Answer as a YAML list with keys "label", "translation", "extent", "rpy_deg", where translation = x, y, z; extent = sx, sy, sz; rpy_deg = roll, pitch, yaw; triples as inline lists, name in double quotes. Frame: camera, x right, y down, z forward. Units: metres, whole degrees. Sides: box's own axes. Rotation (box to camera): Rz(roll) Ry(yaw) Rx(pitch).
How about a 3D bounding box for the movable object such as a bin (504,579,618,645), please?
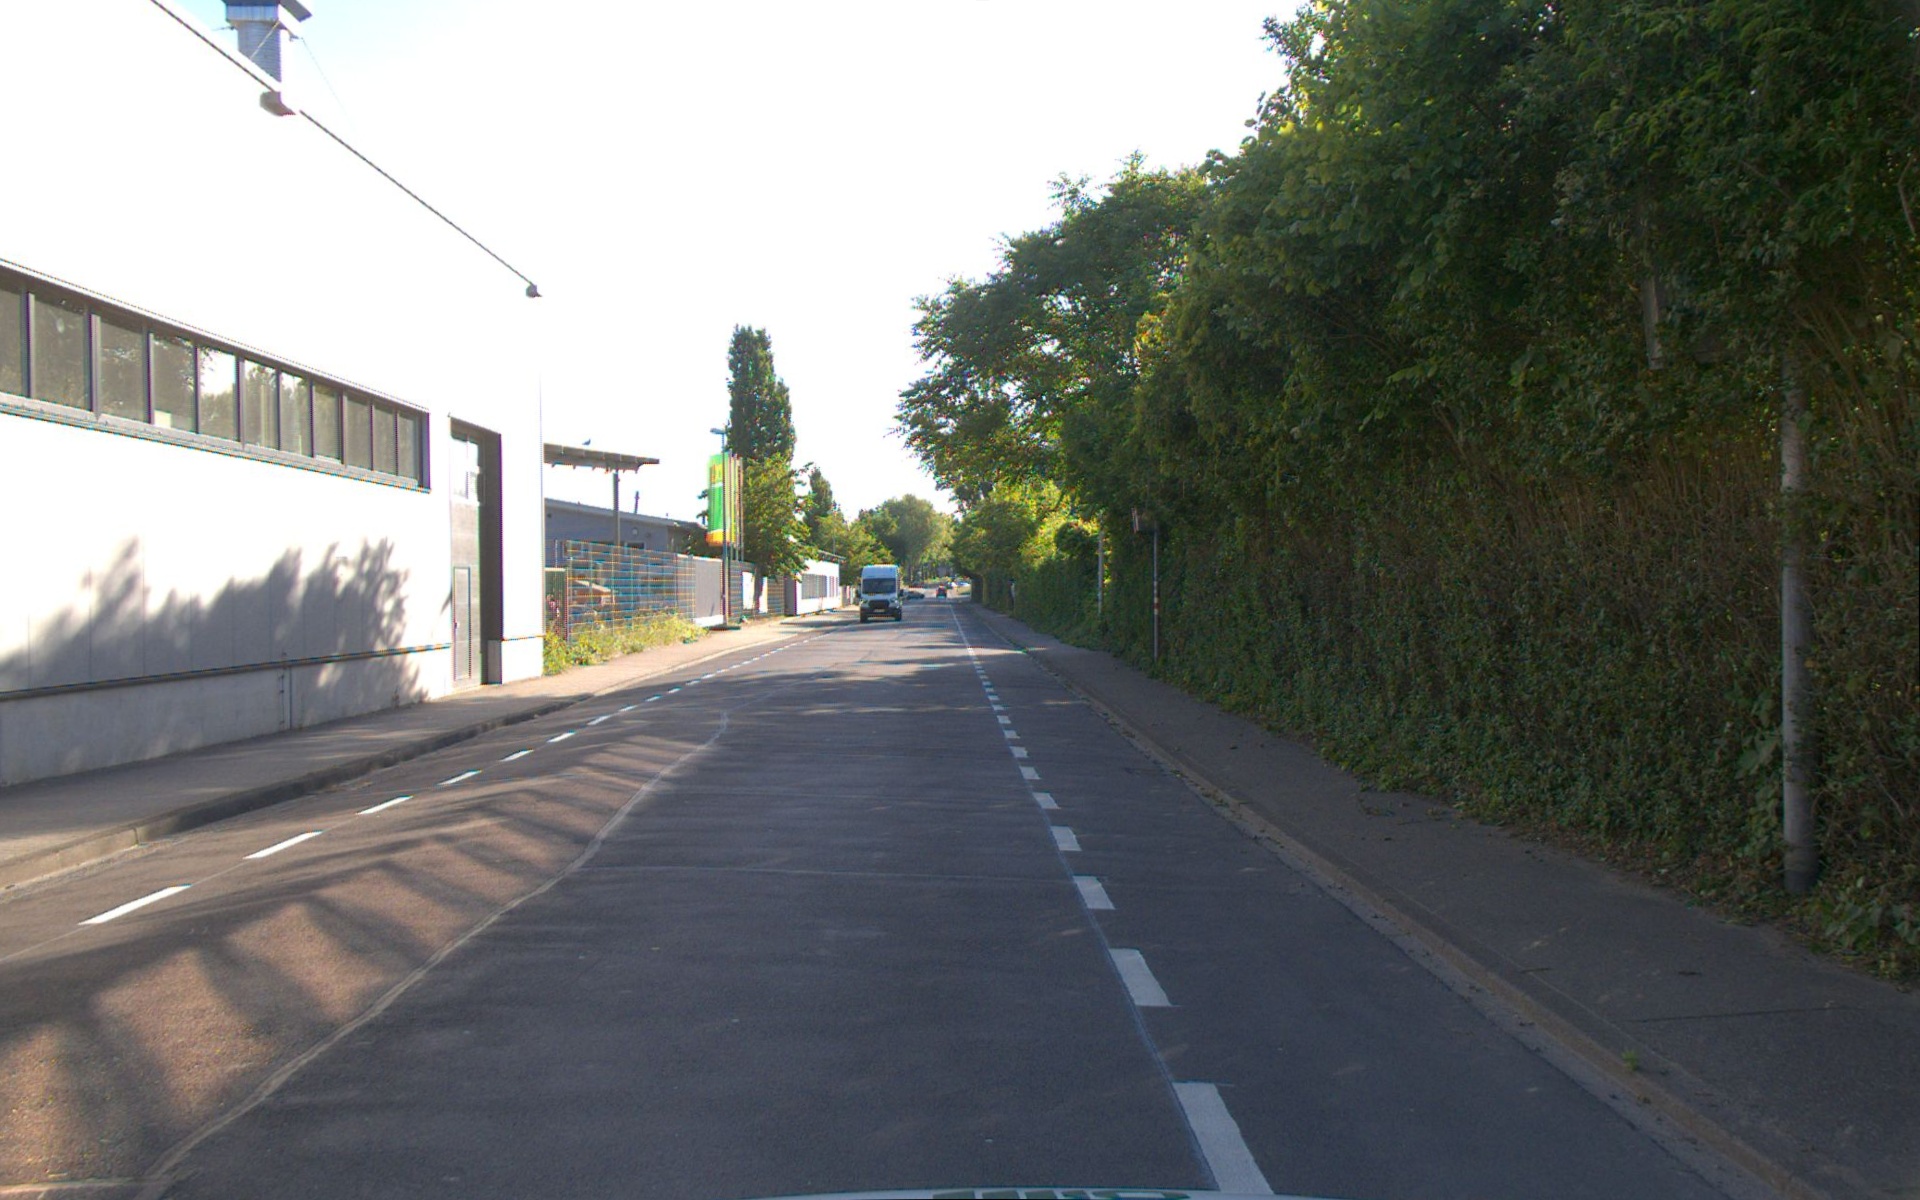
- label: "movable object such as a bin"
  translation: [-11.651, 0.336, 48.422]
  extent: [2.978, 1.867, 1.525]
  rpy_deg: [0, 1, -3]

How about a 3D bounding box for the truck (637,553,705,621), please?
- label: "truck"
  translation: [-12.607, -0.574, 72.403]
  extent: [2.036, 2.809, 5.764]
  rpy_deg: [-1, 1, -1]

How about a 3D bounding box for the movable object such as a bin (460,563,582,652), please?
- label: "movable object such as a bin"
  translation: [-11.148, 0.160, 42.029]
  extent: [2.711, 2.202, 1.521]
  rpy_deg: [0, 1, 29]

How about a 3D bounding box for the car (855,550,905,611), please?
- label: "car"
  translation: [-3.959, -0.942, 82.938]
  extent: [2.079, 2.829, 5.926]
  rpy_deg: [-3, 0, 0]
